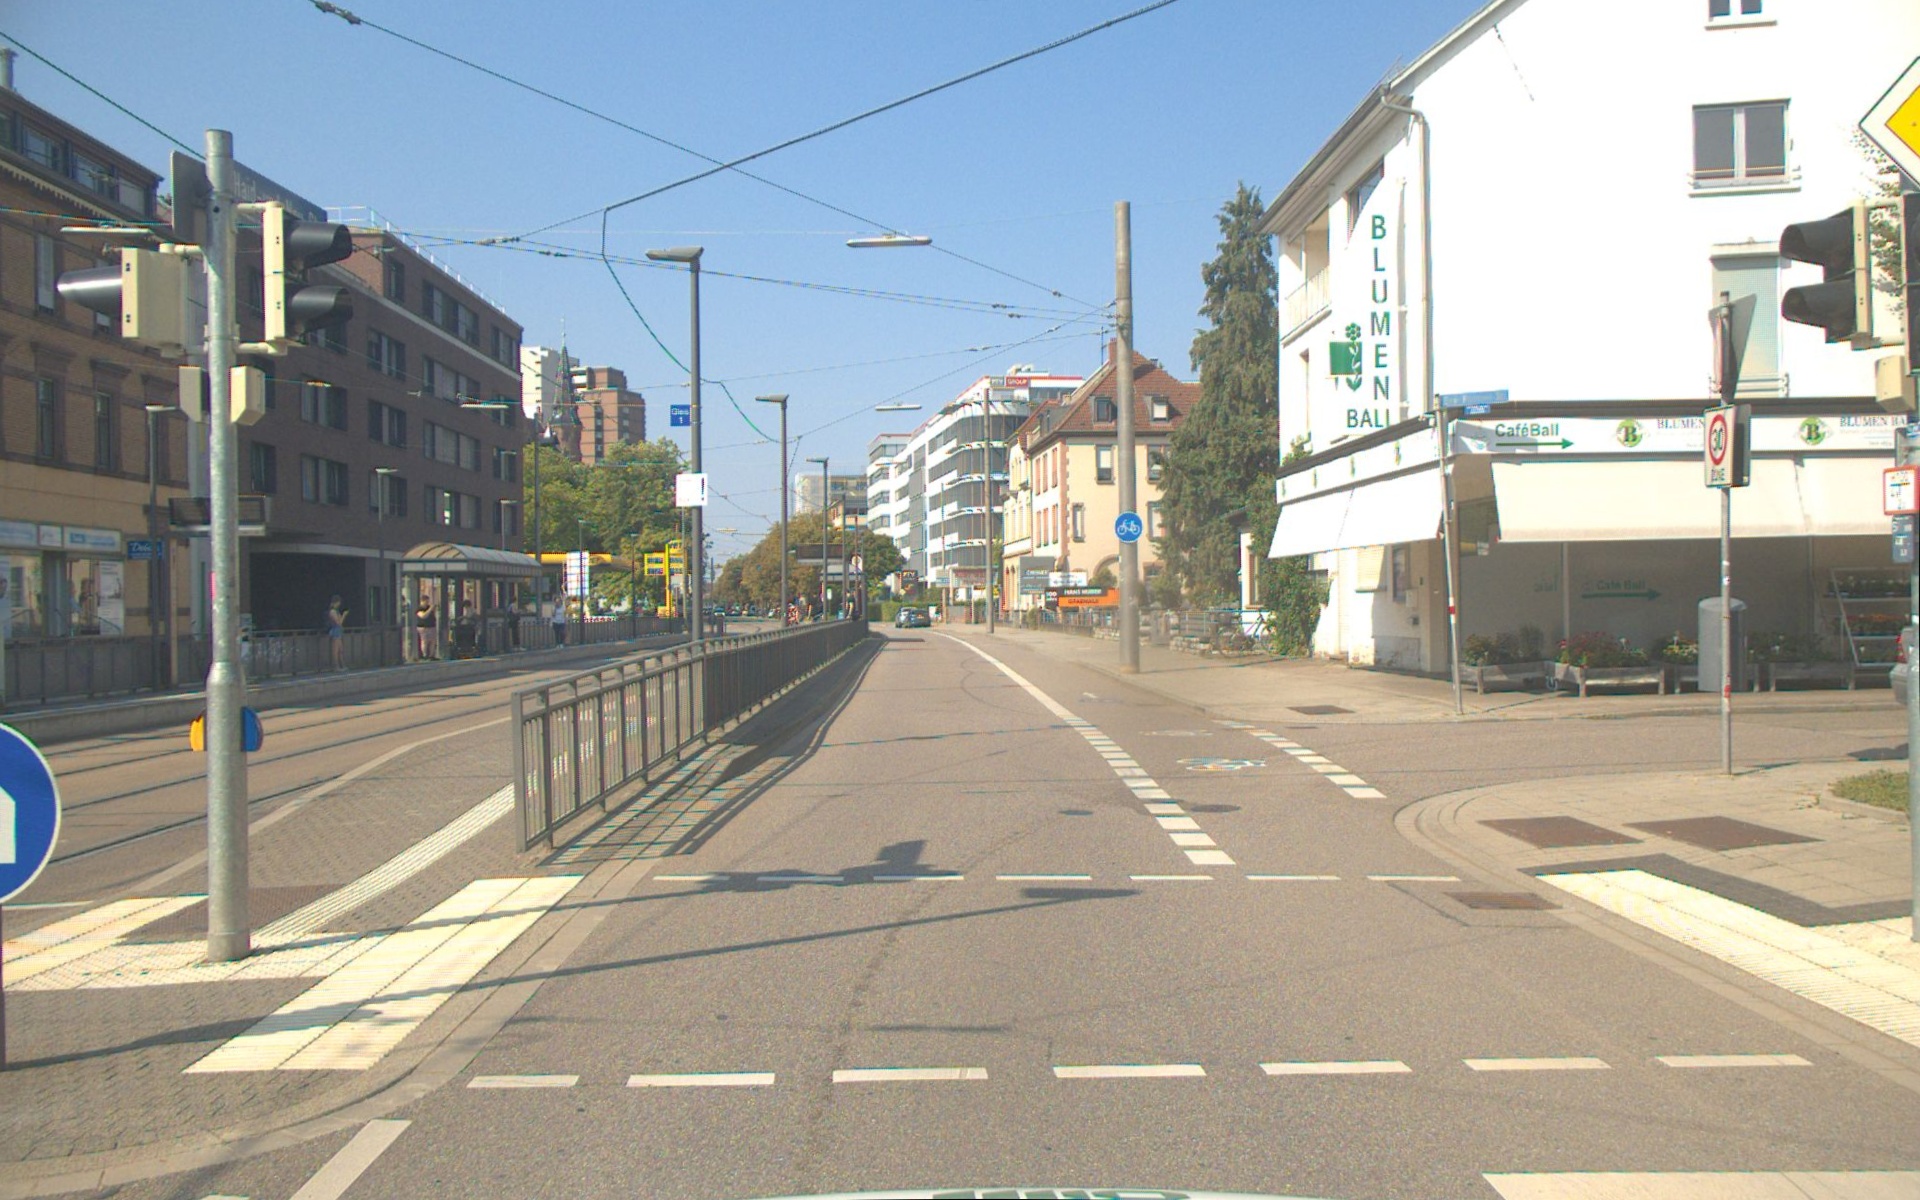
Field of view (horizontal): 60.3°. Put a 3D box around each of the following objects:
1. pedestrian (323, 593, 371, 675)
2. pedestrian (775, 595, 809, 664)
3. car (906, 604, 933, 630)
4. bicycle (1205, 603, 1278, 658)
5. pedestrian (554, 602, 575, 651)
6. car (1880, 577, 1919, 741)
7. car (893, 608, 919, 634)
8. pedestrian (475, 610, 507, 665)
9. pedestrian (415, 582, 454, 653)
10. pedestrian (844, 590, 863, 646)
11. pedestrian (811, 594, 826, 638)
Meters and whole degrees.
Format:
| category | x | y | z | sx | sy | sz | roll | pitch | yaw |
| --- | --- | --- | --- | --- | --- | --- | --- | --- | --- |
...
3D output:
| category | x | y | z | sx | sy | sz | roll | pitch | yaw |
| --- | --- | --- | --- | --- | --- | --- | --- | --- | --- |
| pedestrian | -13.434 | 0.737 | 36.275 | 0.693 | 1.753 | 0.799 | -3 | 0 | -1 |
| pedestrian | -4.380 | 0.767 | 43.179 | 0.705 | 1.733 | 0.884 | -3 | 0 | -1 |
| car | -3.107 | 1.285 | 127.720 | 1.970 | 1.891 | 3.999 | -3 | 0 | 0 |
| bicycle | 6.410 | 0.681 | 37.876 | 0.717 | 1.152 | 2.834 | -4 | 0 | -9 |
| pedestrian | -12.860 | 0.872 | 53.769 | 0.522 | 1.556 | 0.700 | -3 | 0 | -8 |
| car | 10.519 | 0.462 | 14.404 | 4.094 | 1.435 | 1.662 | -2 | 1 | -2 |
| car | -4.355 | 1.686 | 133.922 | 1.970 | 1.891 | 3.999 | -3 | 0 | 0 |
| pedestrian | -13.106 | 1.044 | 46.208 | 0.685 | 1.493 | 0.534 | -3 | -2 | 1 |
| pedestrian | -13.612 | 0.450 | 42.886 | 0.693 | 1.777 | 0.799 | -3 | 0 | -1 |
| pedestrian | -3.364 | 0.576 | 52.264 | 0.526 | 1.733 | 0.581 | -3 | 0 | -4 |
| pedestrian | -5.726 | 0.634 | 66.859 | 0.526 | 1.733 | 0.581 | -3 | 0 | -4 |
